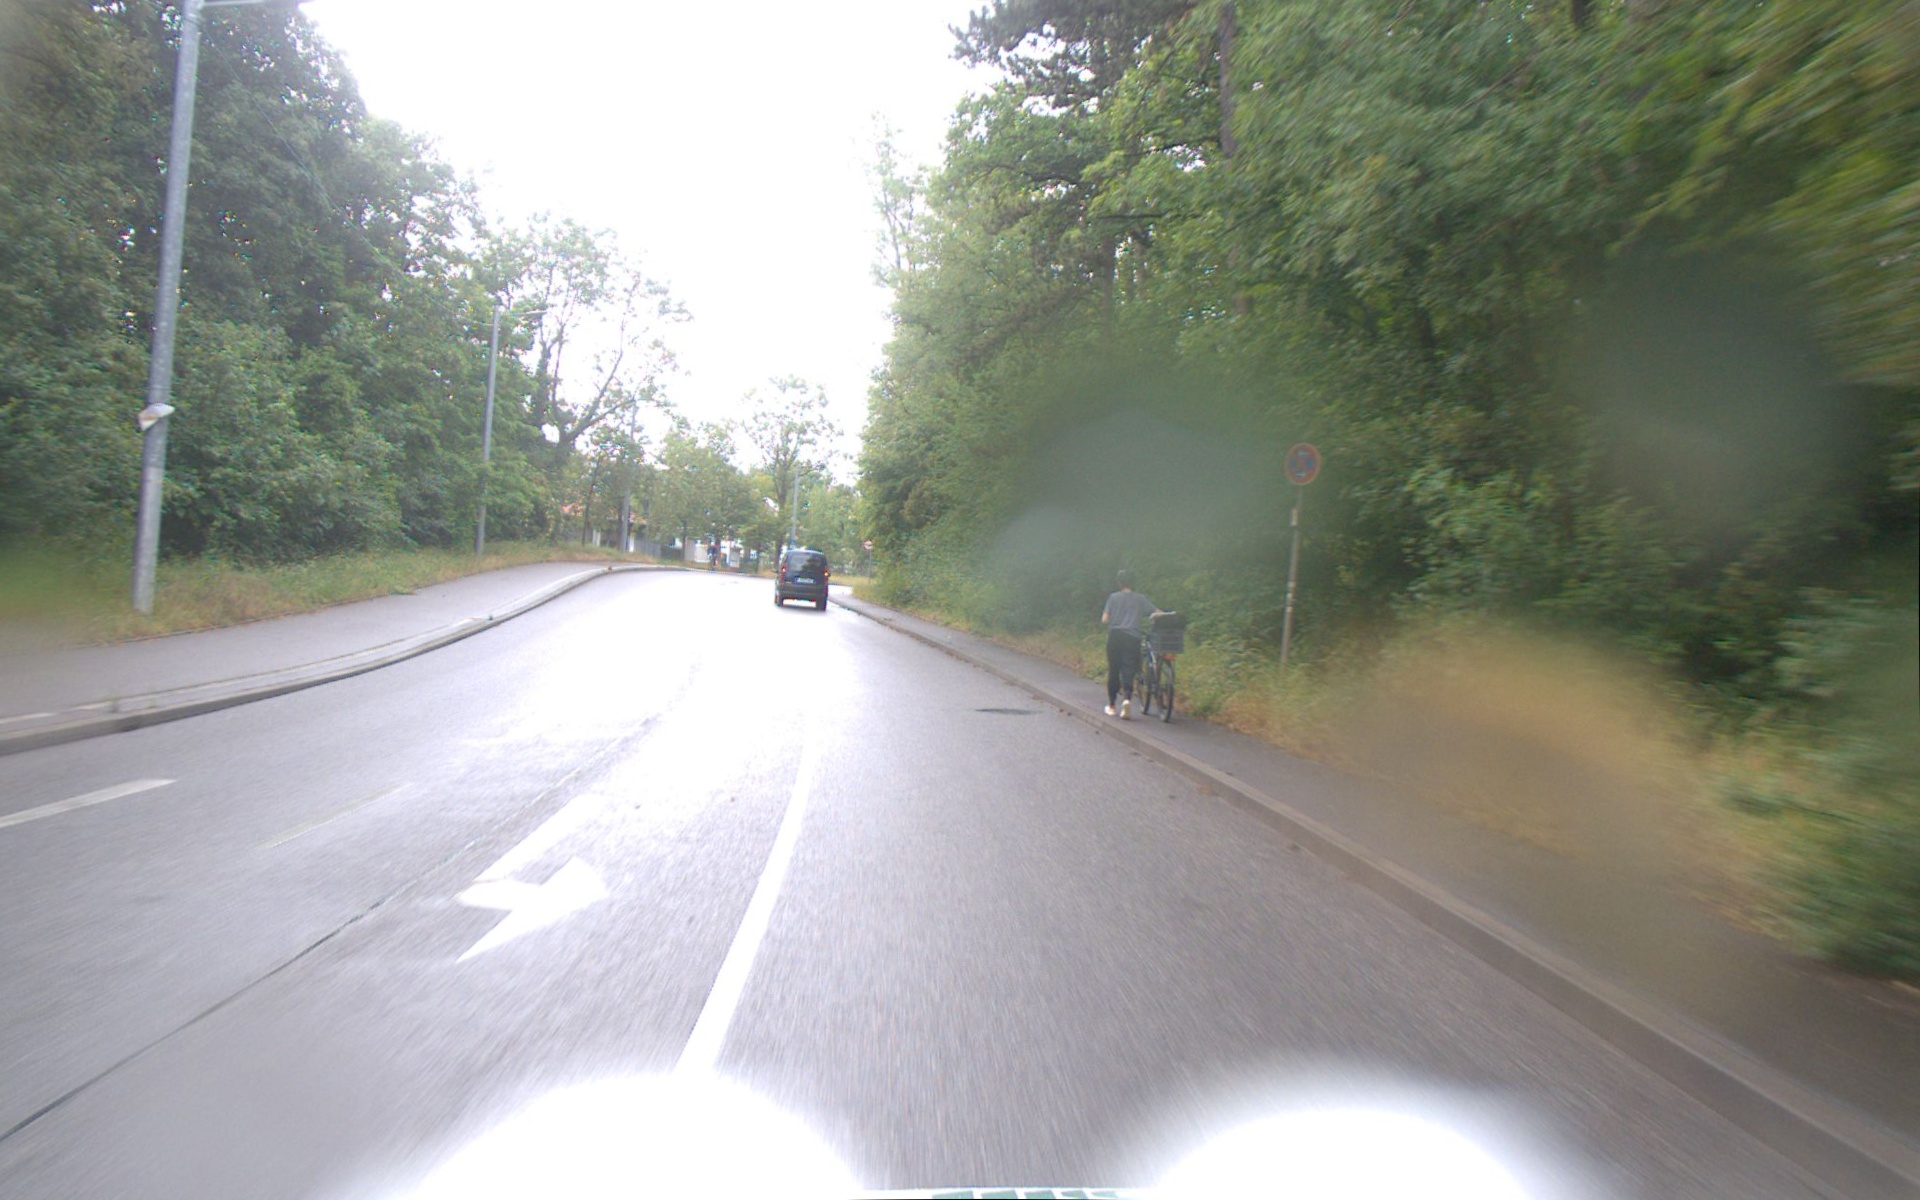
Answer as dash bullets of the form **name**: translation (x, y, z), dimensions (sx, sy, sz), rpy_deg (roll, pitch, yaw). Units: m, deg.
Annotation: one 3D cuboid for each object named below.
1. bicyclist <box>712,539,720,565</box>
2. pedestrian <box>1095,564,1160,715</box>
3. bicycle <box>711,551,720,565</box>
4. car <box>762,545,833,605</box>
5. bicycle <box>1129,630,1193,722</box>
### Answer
- **bicyclist**: translation (-15.253, -2.982, 103.324), dimensions (0.329, 1.601, 1.296), rpy_deg (3, 1, -6)
- **pedestrian**: translation (1.833, 0.438, 18.144), dimensions (0.553, 1.605, 0.769), rpy_deg (1, -2, -5)
- **bicycle**: translation (-15.268, -2.621, 103.345), dimensions (0.349, 0.863, 2.091), rpy_deg (3, 2, -5)
- **car**: translation (-5.374, -0.776, 54.361), dimensions (1.795, 1.825, 3.986), rpy_deg (1, -1, -13)
- **bicycle**: translation (2.192, 0.811, 18.155), dimensions (0.349, 0.863, 1.741), rpy_deg (-1, 2, -5)
